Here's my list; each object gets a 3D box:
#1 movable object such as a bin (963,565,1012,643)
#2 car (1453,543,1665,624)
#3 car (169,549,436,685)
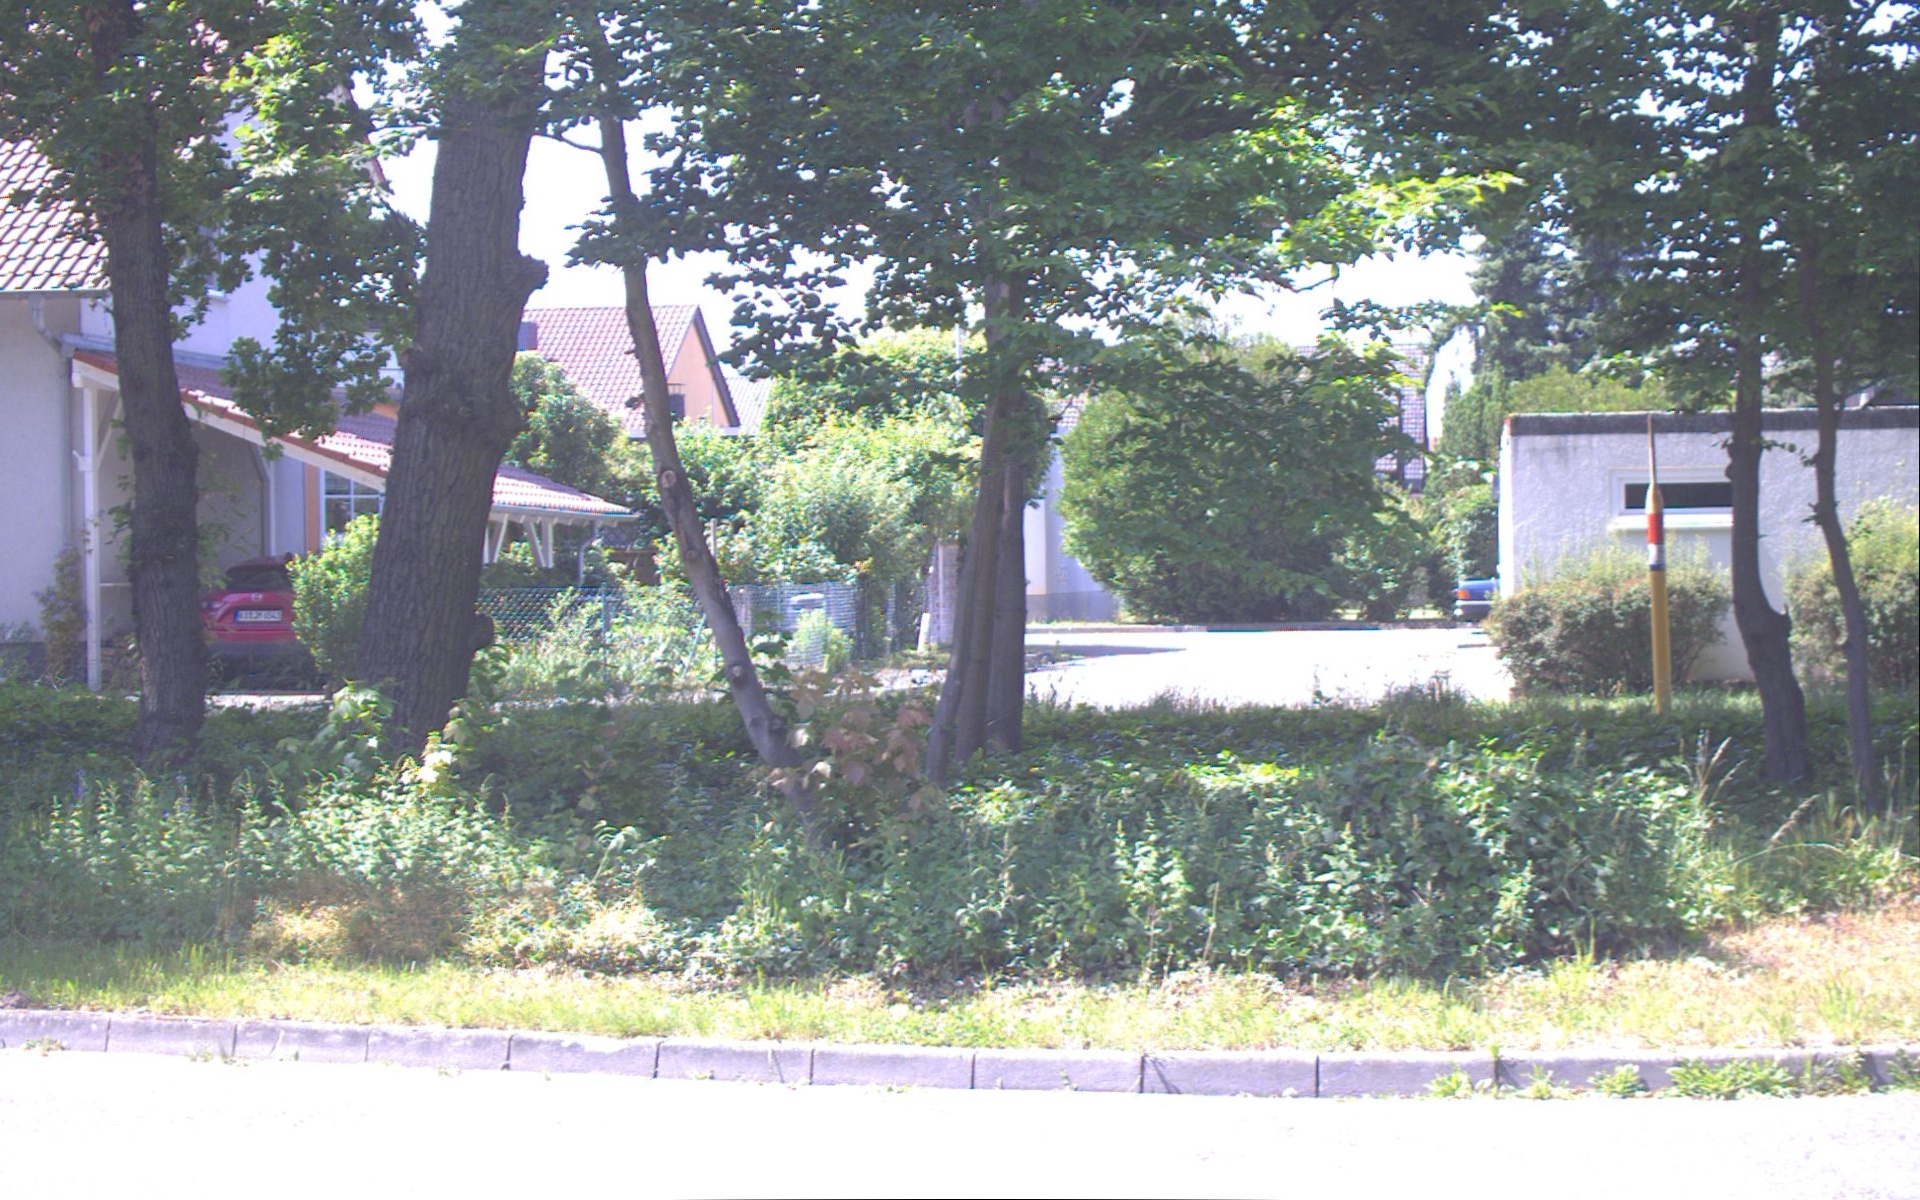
[{"bbox_3d":[0.401,0.059,49.598,0.657,1.108,0.457,-1,1,6],"label":"movable object such as a bin"},{"bbox_3d":[9.684,-0.270,55.726,3.269,1.249,1.573,-1,1,6],"label":"car"},{"bbox_3d":[-7.151,0.153,37.725,1.680,1.380,3.693,-1,1,9],"label":"car"}]
